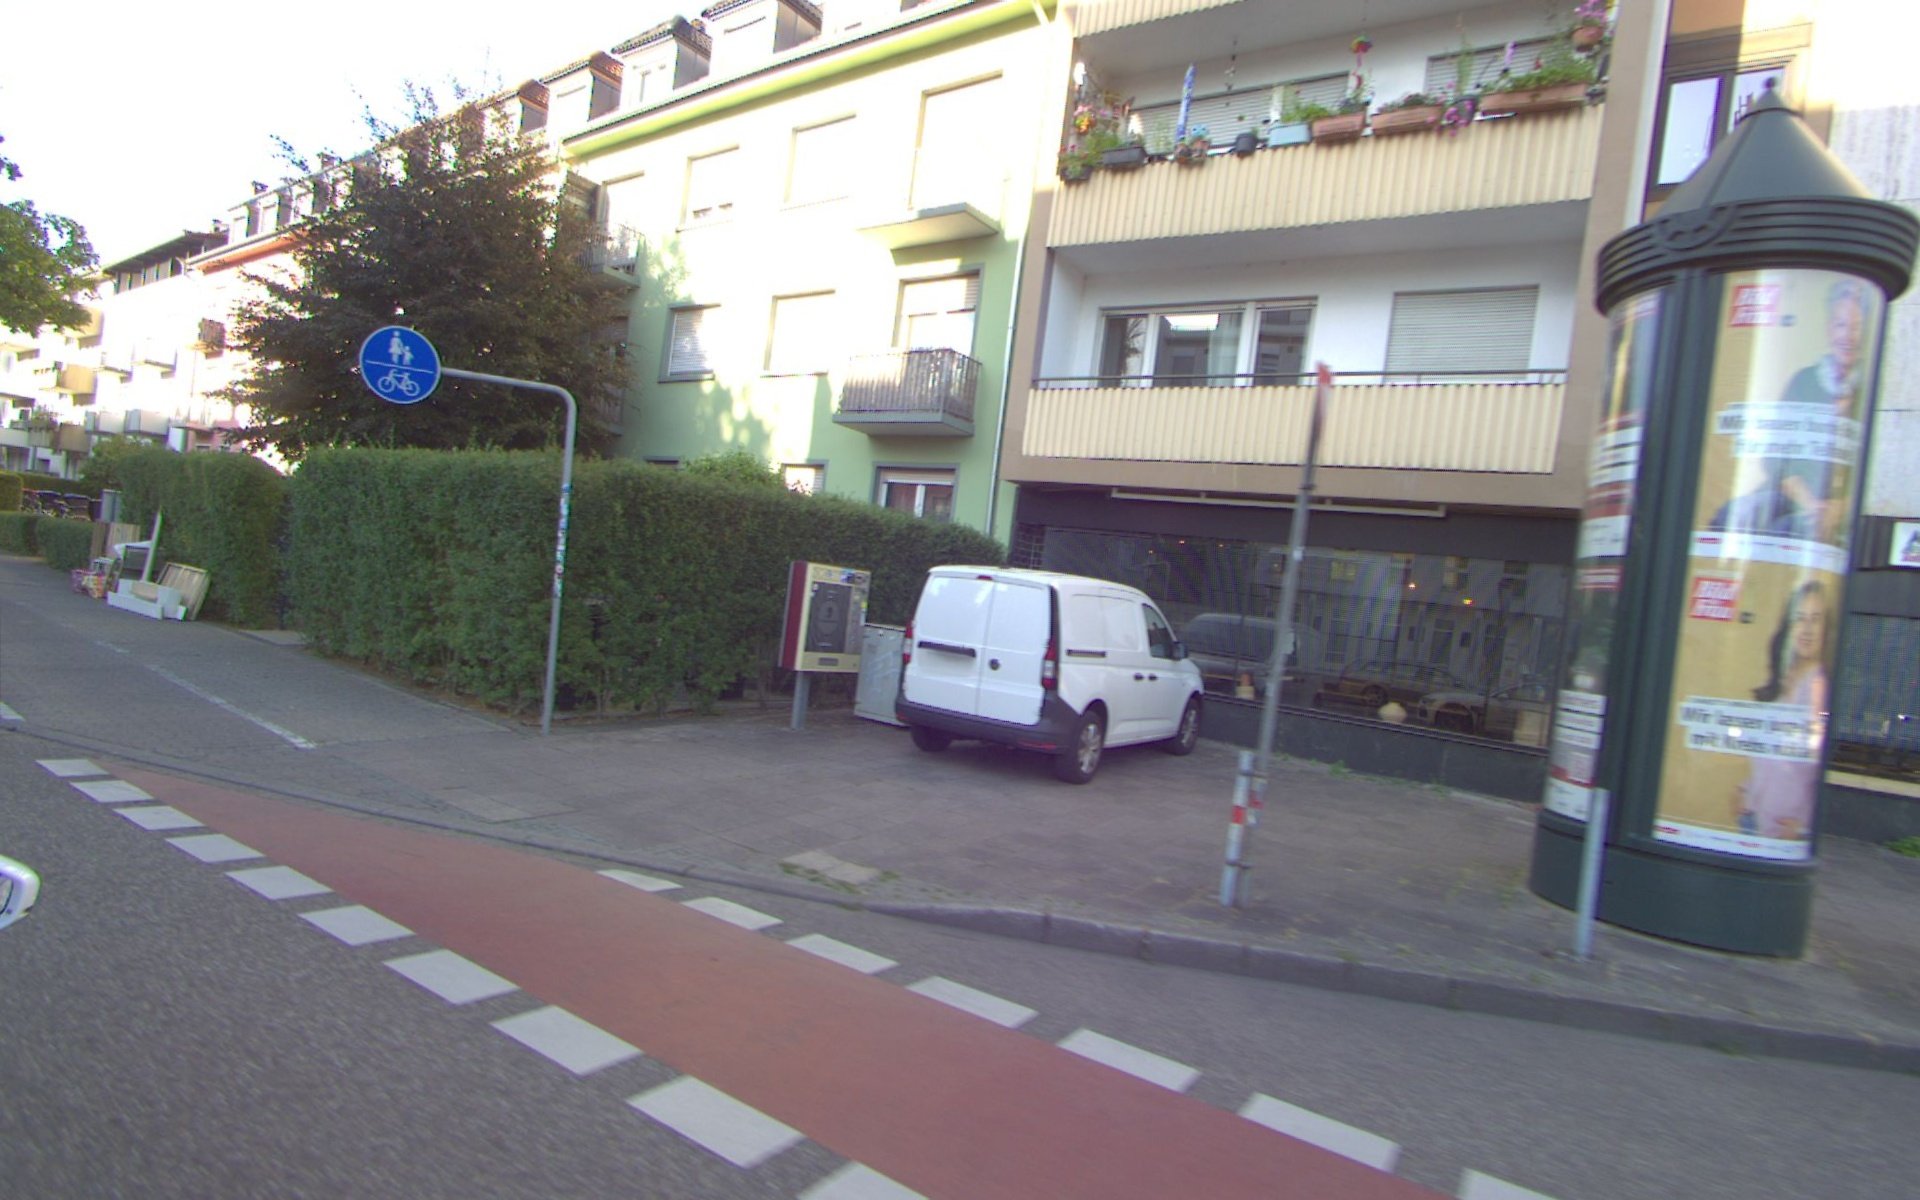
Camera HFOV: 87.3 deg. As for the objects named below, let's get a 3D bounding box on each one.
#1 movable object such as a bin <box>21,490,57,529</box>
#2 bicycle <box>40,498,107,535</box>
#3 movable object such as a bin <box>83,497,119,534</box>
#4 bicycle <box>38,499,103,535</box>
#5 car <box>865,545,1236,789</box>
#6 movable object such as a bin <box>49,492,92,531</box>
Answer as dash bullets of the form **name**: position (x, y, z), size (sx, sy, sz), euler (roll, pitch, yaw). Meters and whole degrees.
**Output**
- **movable object such as a bin**: position (-27.267, -2.674, 29.783), size (0.784, 1.015, 0.582), euler (8, 1, 37)
- **bicycle**: position (-26.014, -2.439, 29.543), size (0.363, 0.864, 1.369), euler (8, 1, 38)
- **movable object such as a bin**: position (-26.433, -2.611, 30.961), size (0.784, 1.015, 0.611), euler (8, 1, 37)
- **bicycle**: position (-26.364, -2.446, 29.828), size (0.359, 0.864, 1.359), euler (8, 1, 37)
- **car**: position (1.135, 0.670, 10.294), size (1.832, 1.836, 4.089), euler (8, 0, 35)
- **movable object such as a bin**: position (-26.861, -2.670, 30.376), size (0.784, 1.015, 0.776), euler (8, 1, 37)
